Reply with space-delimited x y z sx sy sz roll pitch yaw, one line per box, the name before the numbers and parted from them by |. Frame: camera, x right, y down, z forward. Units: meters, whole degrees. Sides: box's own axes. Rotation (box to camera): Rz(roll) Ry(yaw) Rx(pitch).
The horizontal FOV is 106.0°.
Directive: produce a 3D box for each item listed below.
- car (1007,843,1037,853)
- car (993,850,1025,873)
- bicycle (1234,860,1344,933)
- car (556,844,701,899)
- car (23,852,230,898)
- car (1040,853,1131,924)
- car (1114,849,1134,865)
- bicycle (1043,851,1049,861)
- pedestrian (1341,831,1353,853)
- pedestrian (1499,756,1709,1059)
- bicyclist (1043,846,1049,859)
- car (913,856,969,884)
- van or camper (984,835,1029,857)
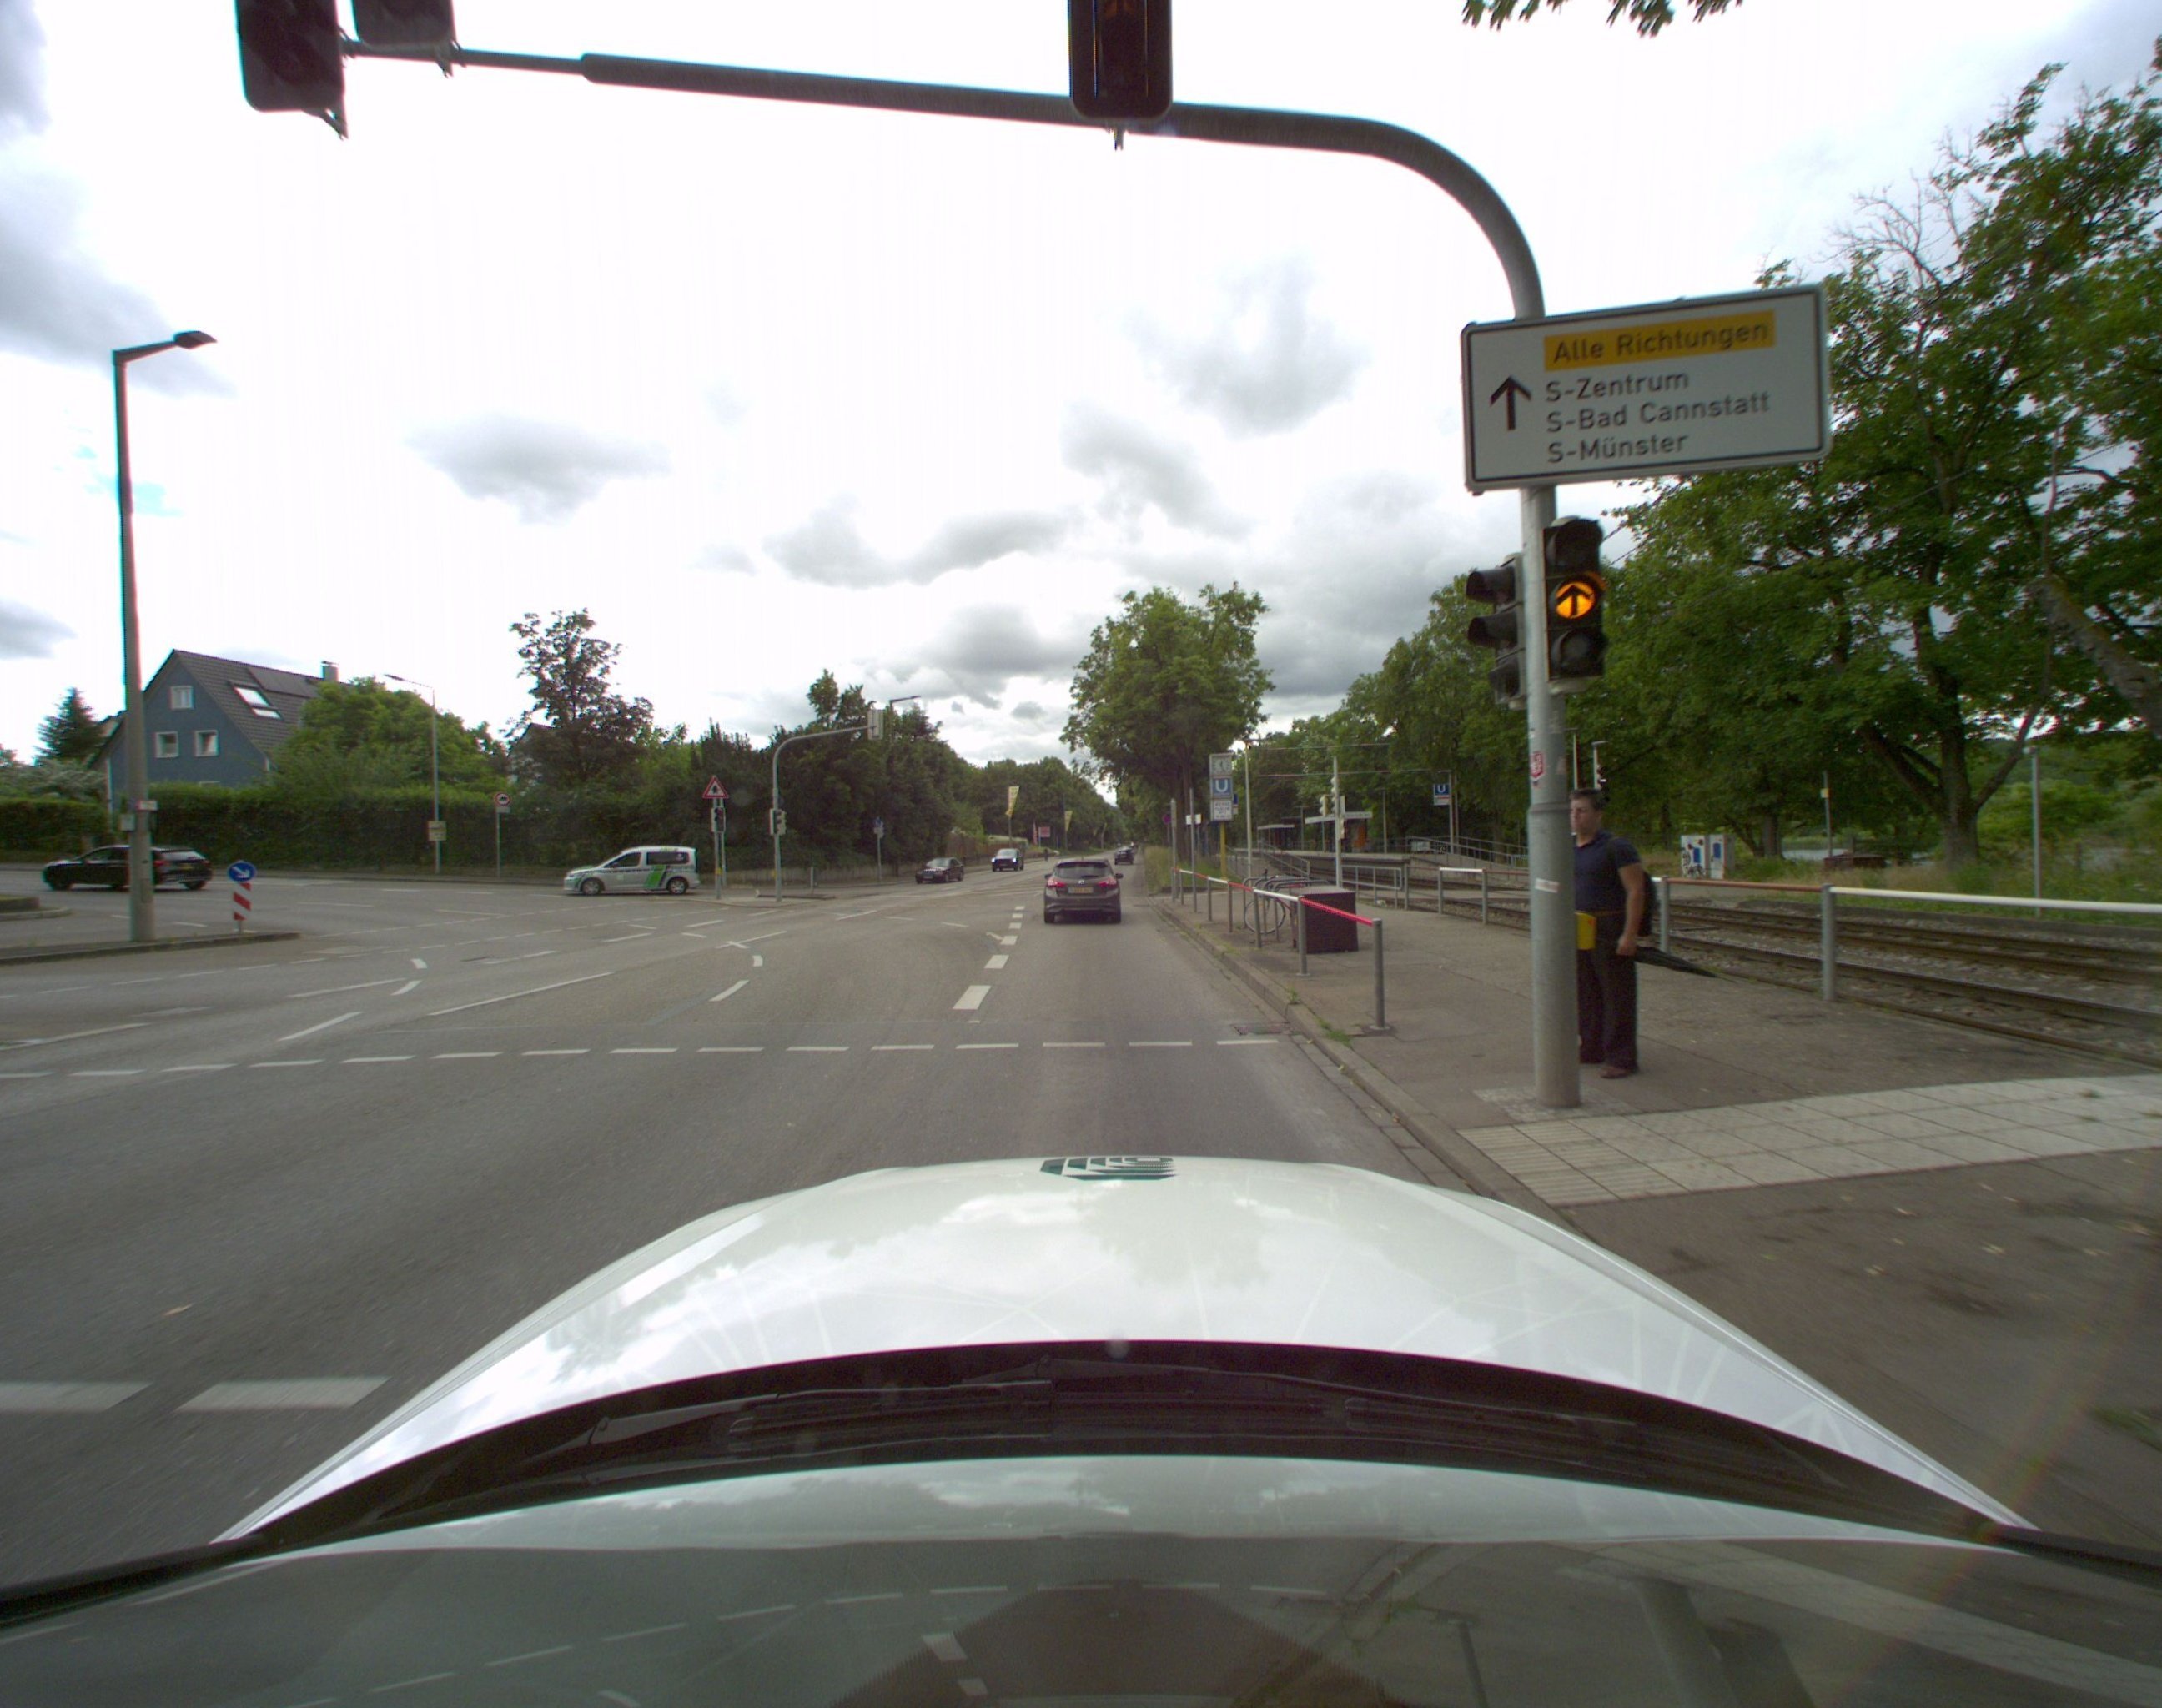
car | -8.692 -0.893 119.844 3.964 1.497 1.864 0 0 8
car | -5.692 0.549 64.790 1.894 1.678 5.083 -1 0 2
bicycle | 3.568 0.716 14.023 1.669 1.090 0.602 -4 0 0
car | -16.742 0.609 30.243 4.558 1.874 1.929 -1 0 -32
car | -32.136 0.683 27.530 4.515 1.423 1.947 -1 0 -2
car | 0.218 0.770 19.995 1.828 1.528 3.935 -1 0 6
car | 4.217 0.296 79.857 1.702 1.475 3.677 0 0 6
bicycle | -4.276 0.259 99.108 0.640 1.145 2.147 0 0 0
pedestrian | 18.173 -0.832 55.648 0.714 1.511 0.725 0 -1 7
pedestrian | 3.282 0.321 5.210 0.747 1.737 0.841 -4 -1 9
bicyclist | -4.283 -0.199 99.078 0.640 1.535 0.978 0 0 0
car | -7.573 0.825 44.552 1.732 1.464 4.353 0 0 8
van or camper | -12.750 -1.335 140.147 7.110 3.370 2.800 4 1 4
